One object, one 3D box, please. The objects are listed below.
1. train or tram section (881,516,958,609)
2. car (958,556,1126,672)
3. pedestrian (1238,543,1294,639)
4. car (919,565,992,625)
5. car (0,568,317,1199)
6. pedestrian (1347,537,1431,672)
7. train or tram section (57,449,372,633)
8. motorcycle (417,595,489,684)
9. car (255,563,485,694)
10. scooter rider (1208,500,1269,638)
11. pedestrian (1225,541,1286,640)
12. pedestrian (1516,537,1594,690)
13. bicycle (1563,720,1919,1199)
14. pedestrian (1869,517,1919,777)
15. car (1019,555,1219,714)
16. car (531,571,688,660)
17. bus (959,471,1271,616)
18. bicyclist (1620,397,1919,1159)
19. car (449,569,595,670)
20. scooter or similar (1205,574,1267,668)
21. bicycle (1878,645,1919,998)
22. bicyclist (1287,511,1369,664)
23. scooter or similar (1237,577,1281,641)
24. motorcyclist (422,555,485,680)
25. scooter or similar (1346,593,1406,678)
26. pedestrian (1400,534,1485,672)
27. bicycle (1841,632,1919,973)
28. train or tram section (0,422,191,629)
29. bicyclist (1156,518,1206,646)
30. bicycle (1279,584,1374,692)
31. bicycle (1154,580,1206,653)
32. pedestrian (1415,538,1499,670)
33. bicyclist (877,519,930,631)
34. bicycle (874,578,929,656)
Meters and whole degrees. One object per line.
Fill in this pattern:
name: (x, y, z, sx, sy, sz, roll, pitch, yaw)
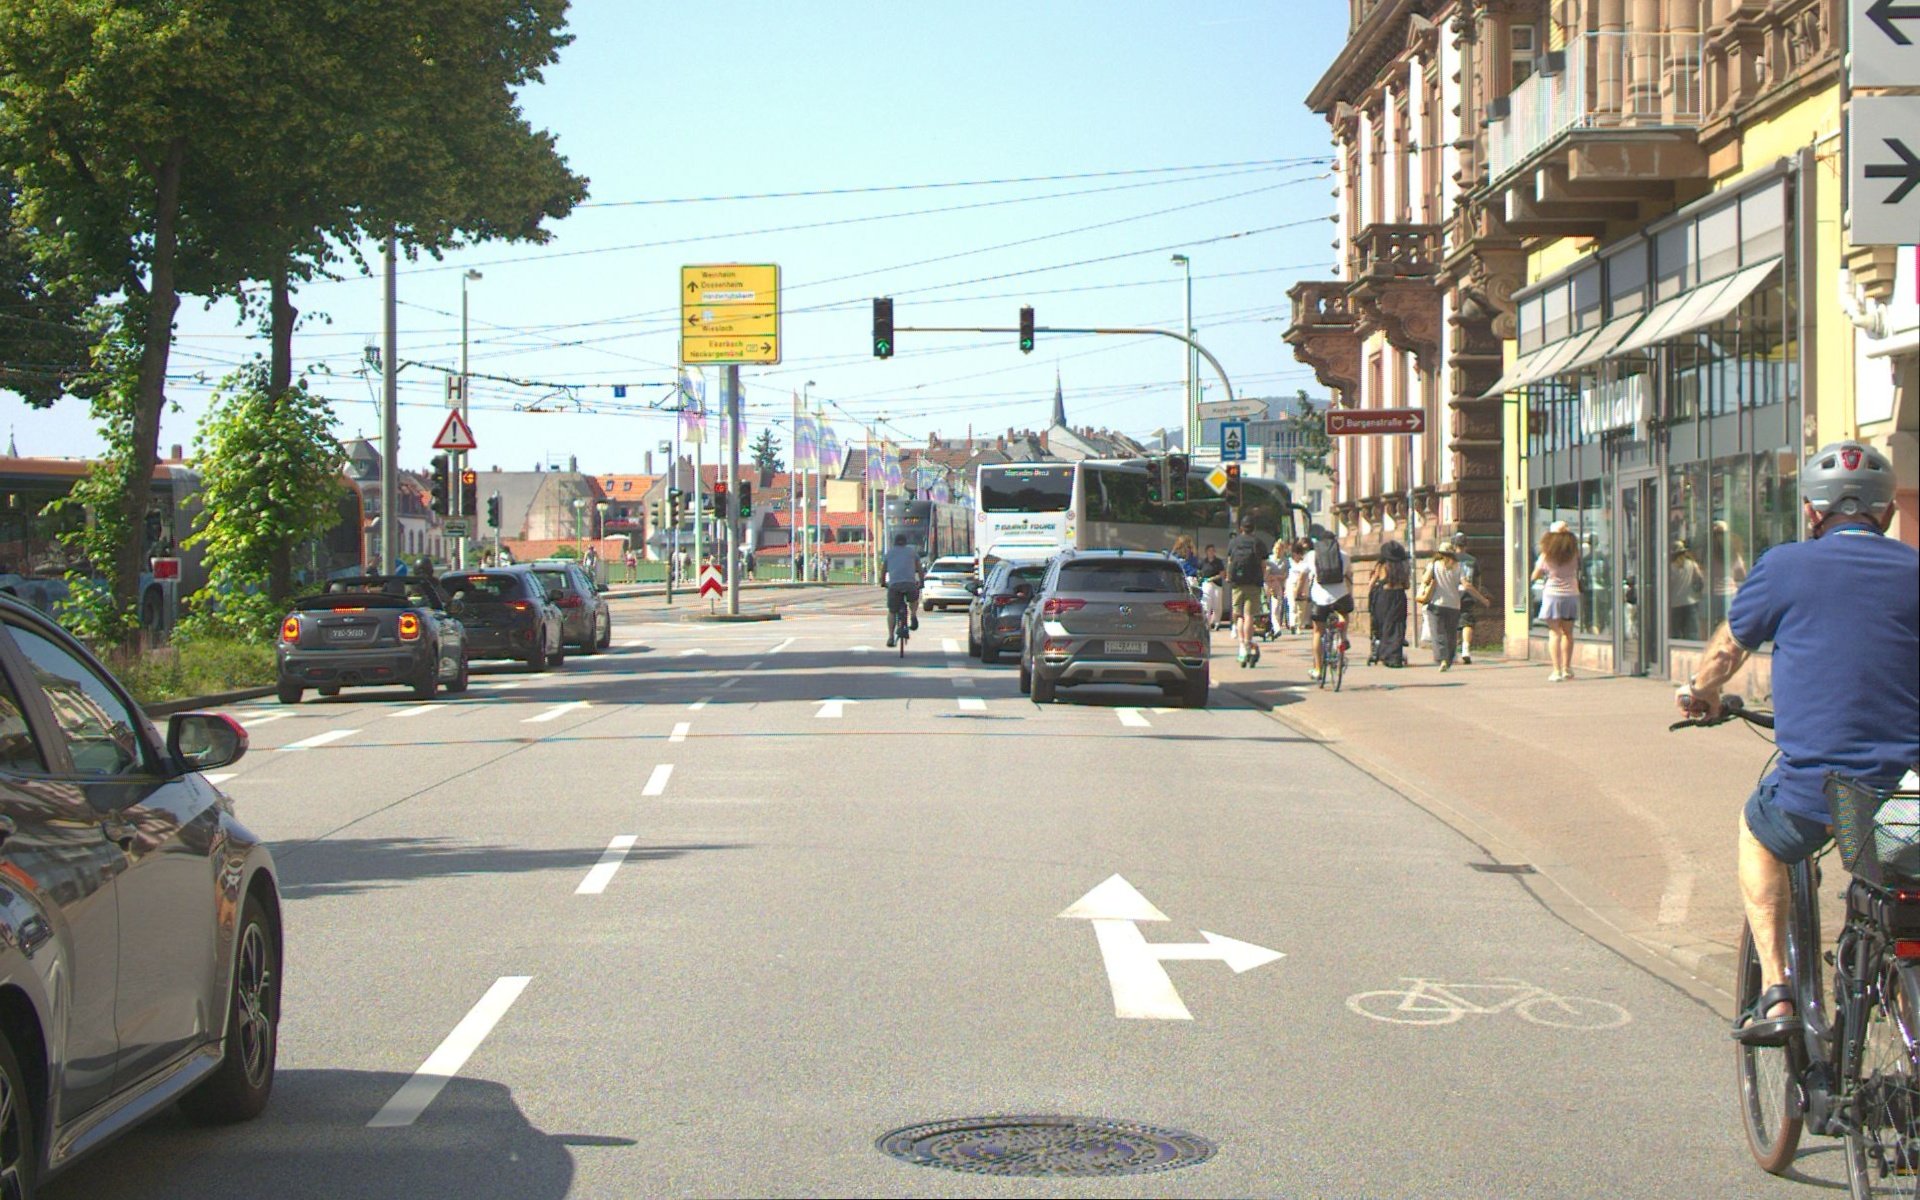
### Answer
train or tram section: (-1.677, -1.612, 146.927, 2.822, 3.764, 8.226, 2, 1, 2)
car: (1.095, 0.185, 47.961, 1.993, 1.487, 4.000, 2, 0, -3)
pedestrian: (5.242, -0.162, 58.965, 0.862, 1.634, 0.876, 0, 1, -2)
car: (-0.094, -0.118, 91.561, 1.859, 1.502, 4.000, 2, 0, 1)
car: (-2.718, 0.693, 7.908, 1.777, 1.470, 4.000, -1, 0, -1)
pedestrian: (5.334, 0.060, 42.822, 0.862, 1.634, 0.876, 2, 0, -2)
train or tram section: (-15.293, -1.103, 71.255, 2.824, 3.569, 8.219, -1, -1, 16)
motorcycle: (-6.392, 0.485, 43.428, 0.698, 1.060, 1.910, -2, 1, -3)
car: (-6.545, 0.308, 38.520, 1.815, 1.328, 4.000, 2, 0, 1)
scooter rider: (3.542, -0.394, 43.770, 0.688, 1.723, 0.778, 2, 0, 2)
pedestrian: (4.966, -0.160, 57.859, 0.862, 1.634, 0.876, 2, 0, -2)
pedestrian: (6.383, 0.137, 36.906, 0.654, 1.615, 0.815, -1, 1, -2)
bicycle: (1.950, 0.863, 7.805, 0.734, 1.089, 1.911, 2, 0, -2)
pedestrian: (6.426, 0.283, 22.242, 0.755, 1.650, 0.837, -3, -1, -1)
car: (1.581, 0.339, 35.442, 1.873, 1.487, 4.000, 2, 0, 1)
car: (-5.613, 0.244, 55.477, 2.037, 1.328, 4.000, 2, 0, 1)
bus: (3.446, -1.139, 73.556, 2.974, 2.767, 8.626, 2, 0, 30)
bicyclist: (1.966, 0.384, 7.792, 0.688, 1.611, 0.918, 2, 0, -1)
car: (-6.061, 0.261, 47.935, 1.451, 1.296, 4.000, 2, 0, 1)
scooter or similar: (3.503, 0.264, 43.732, 0.688, 1.163, 1.464, 2, 0, 2)
bicycle: (4.058, 0.720, 11.644, 1.693, 1.174, 0.608, -2, 1, 0)
bicyclist: (3.880, -0.133, 36.309, 0.688, 1.571, 1.049, 2, 0, -1)
scooter or similar: (4.968, 0.153, 57.167, 0.600, 1.044, 0.799, 2, 0, -2)
motorcyclist: (-6.384, 0.224, 43.349, 0.689, 1.550, 0.718, -2, -1, -3)
scooter or similar: (5.249, 0.441, 43.405, 0.600, 1.044, 0.799, 2, 0, -2)
pedestrian: (5.794, 0.030, 41.311, 0.862, 1.634, 0.876, 0, 0, -2)
bicycle: (4.074, 0.705, 12.275, 1.693, 1.174, 0.608, 0, 1, 0)
train or tram section: (-17.467, -1.273, 62.346, 2.824, 3.569, 10.026, -1, -1, 13)
bicyclist: (3.423, -0.275, 53.346, 0.688, 1.955, 0.778, 2, 0, 2)
bicycle: (3.871, 0.395, 36.439, 0.734, 1.089, 1.898, 2, 0, -1)
bicycle: (3.415, 0.258, 53.517, 0.734, 1.089, 1.897, 2, 0, 2)
pedestrian: (6.331, 0.056, 43.829, 0.862, 1.634, 0.876, 2, 0, -2)
bicyclist: (-0.819, -0.356, 49.718, 0.688, 1.571, 1.049, 2, 0, -2)
bicycle: (-0.858, 0.238, 49.770, 0.734, 1.089, 1.898, 2, 0, -2)
